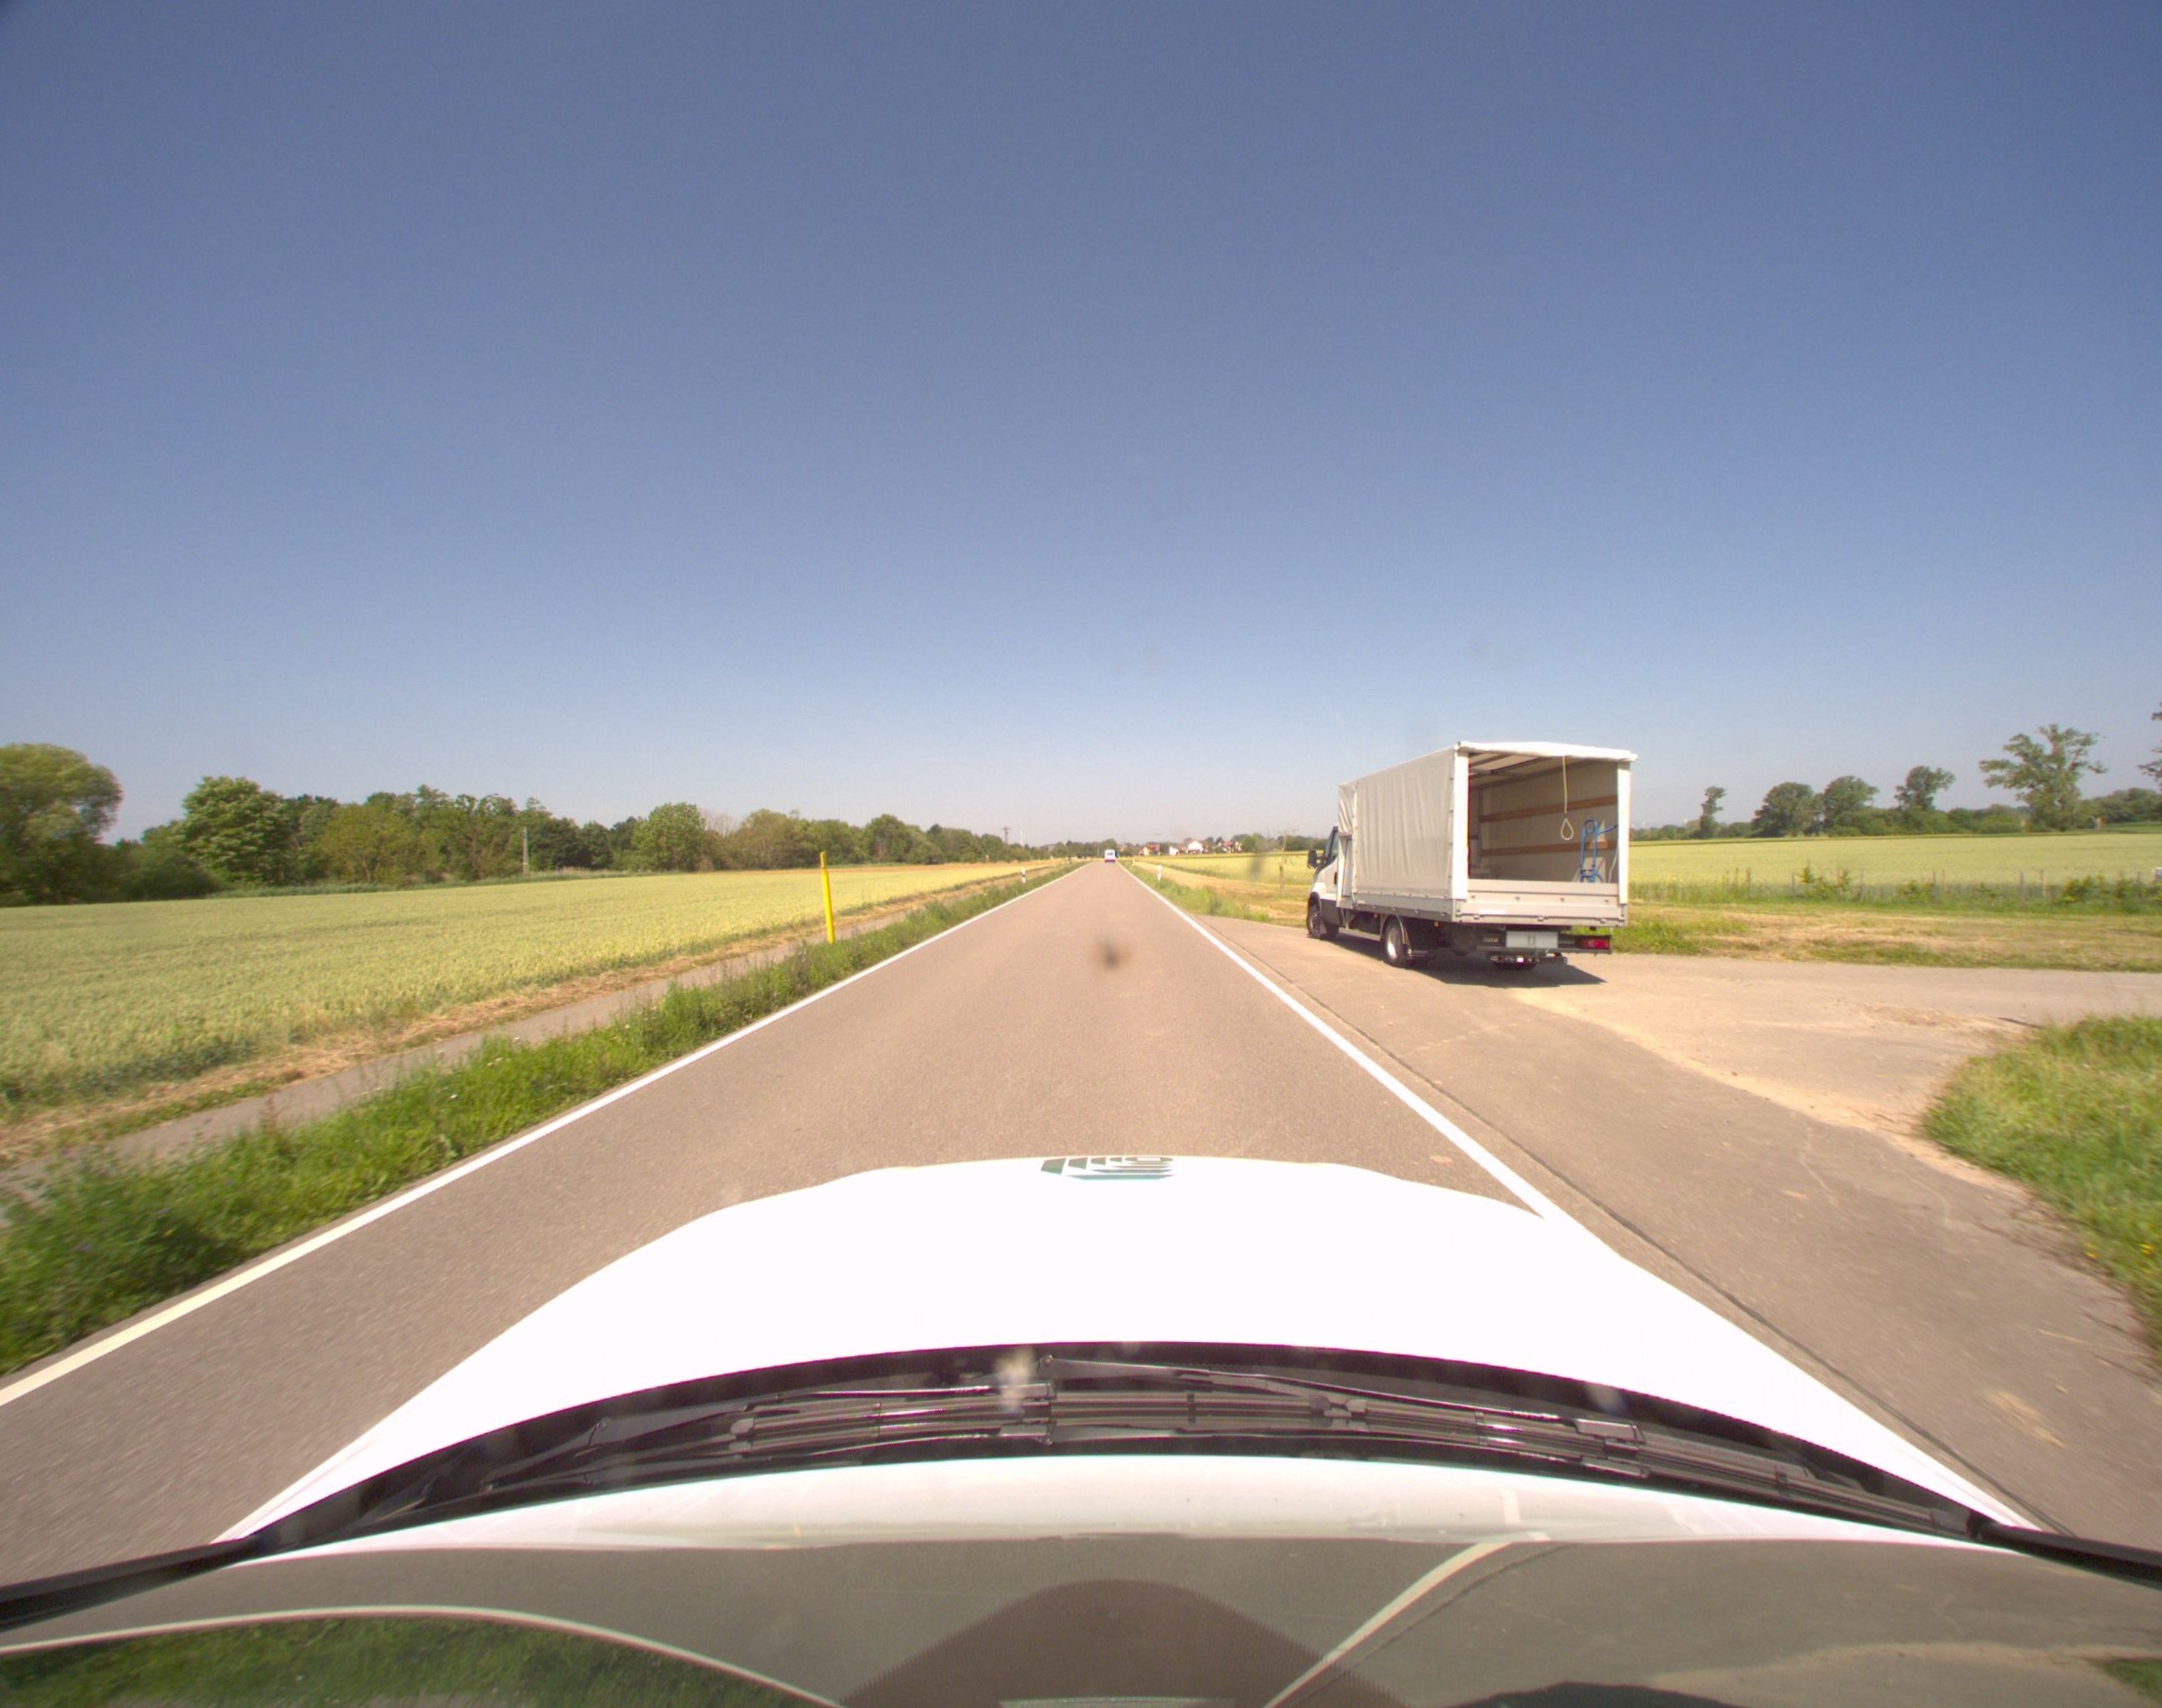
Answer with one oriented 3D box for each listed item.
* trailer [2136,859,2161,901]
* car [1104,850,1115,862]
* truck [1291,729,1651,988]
[{"bbox_3d":[32.732,0.756,22.853,3.560,1.189,1.670,0,0,13],"label":"trailer"},{"bbox_3d":[5.690,0.381,160.724,2.099,2.304,5.497,0,0,2],"label":"car"},{"bbox_3d":[5.440,0.065,12.950,2.328,2.942,7.007,2,0,0],"label":"truck"}]
